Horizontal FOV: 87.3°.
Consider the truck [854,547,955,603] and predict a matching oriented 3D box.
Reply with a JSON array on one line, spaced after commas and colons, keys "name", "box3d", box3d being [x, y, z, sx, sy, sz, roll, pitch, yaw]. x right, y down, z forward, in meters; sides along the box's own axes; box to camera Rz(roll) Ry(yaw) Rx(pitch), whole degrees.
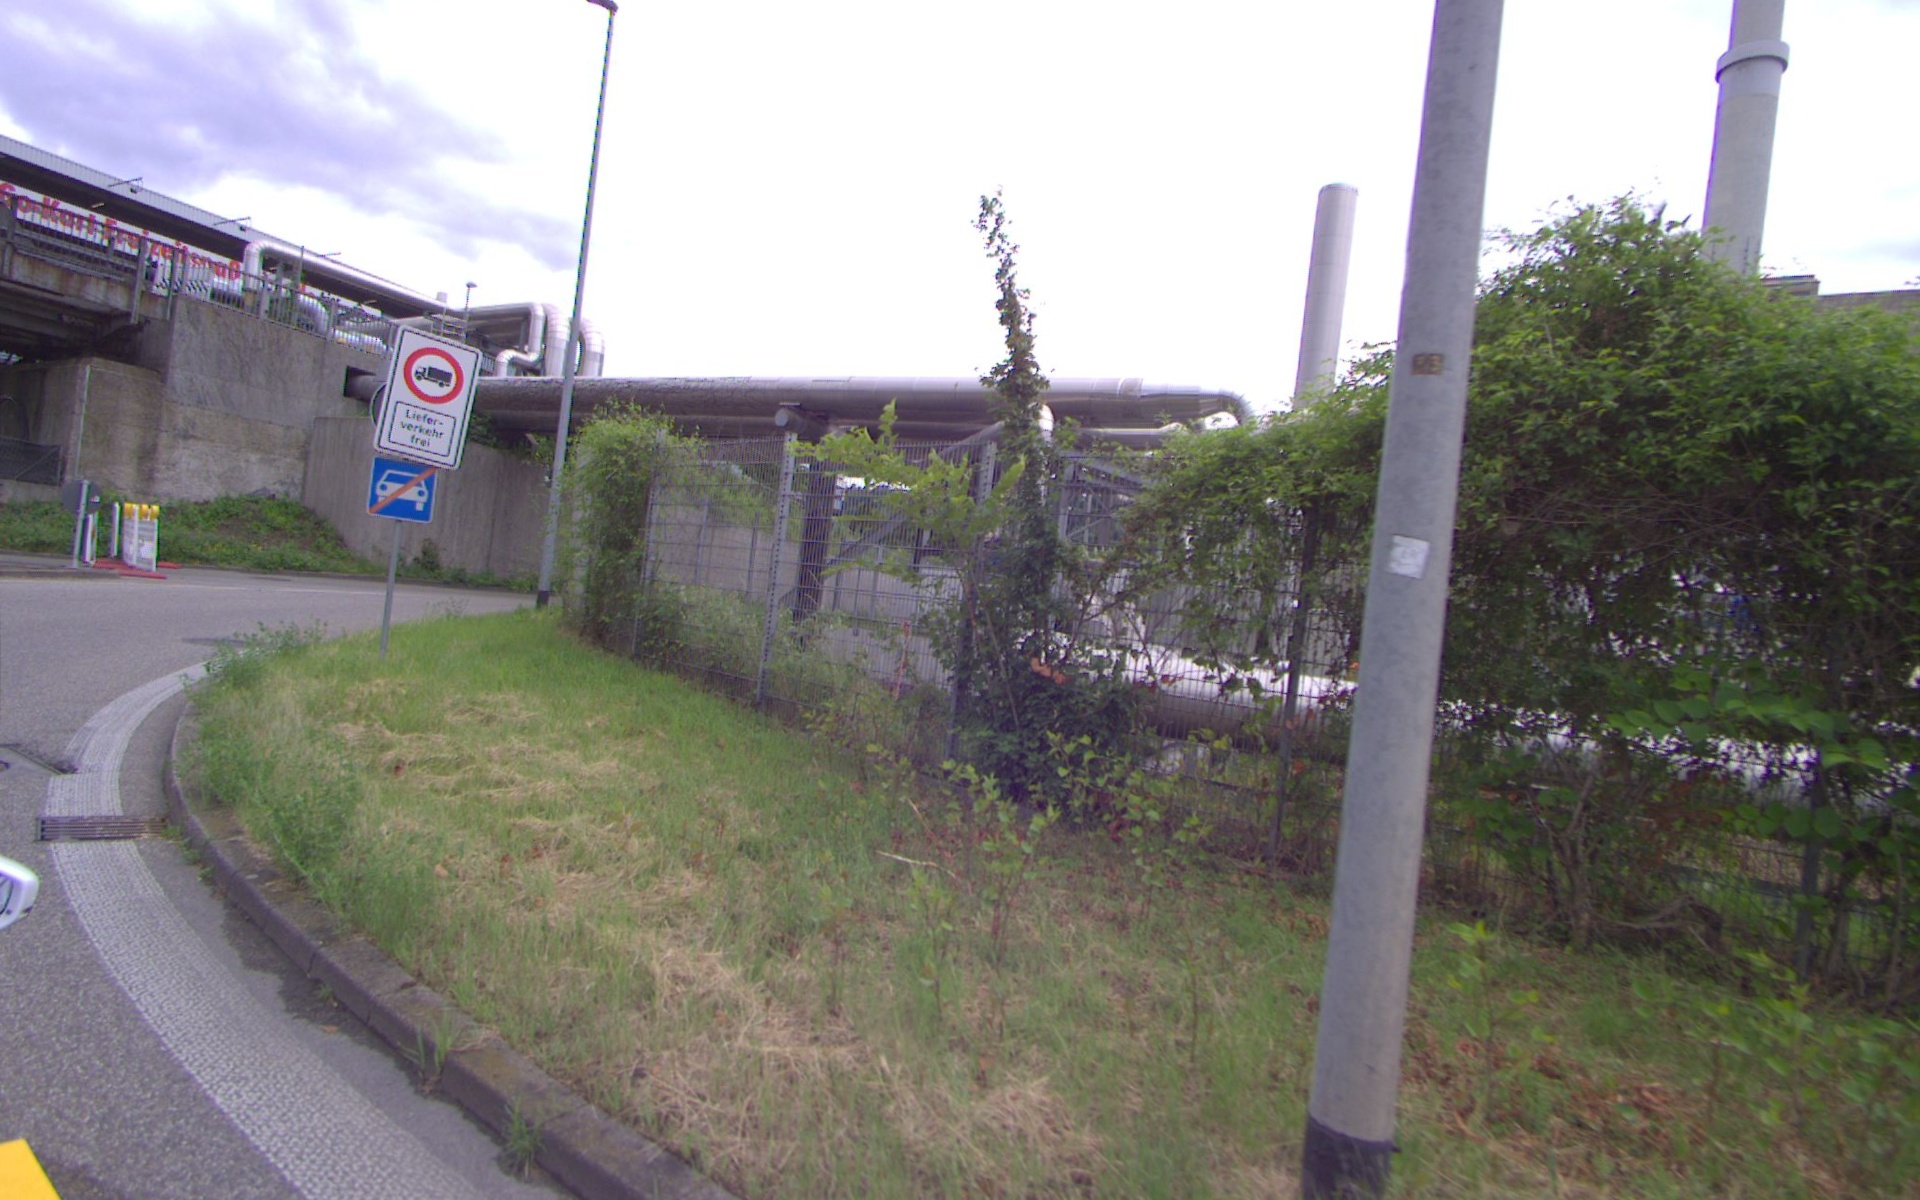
[{"name": "truck", "box3d": [-4.890, -2.160, 88.119, 8.026, 3.577, 3.047, 8, -2, -13]}]
